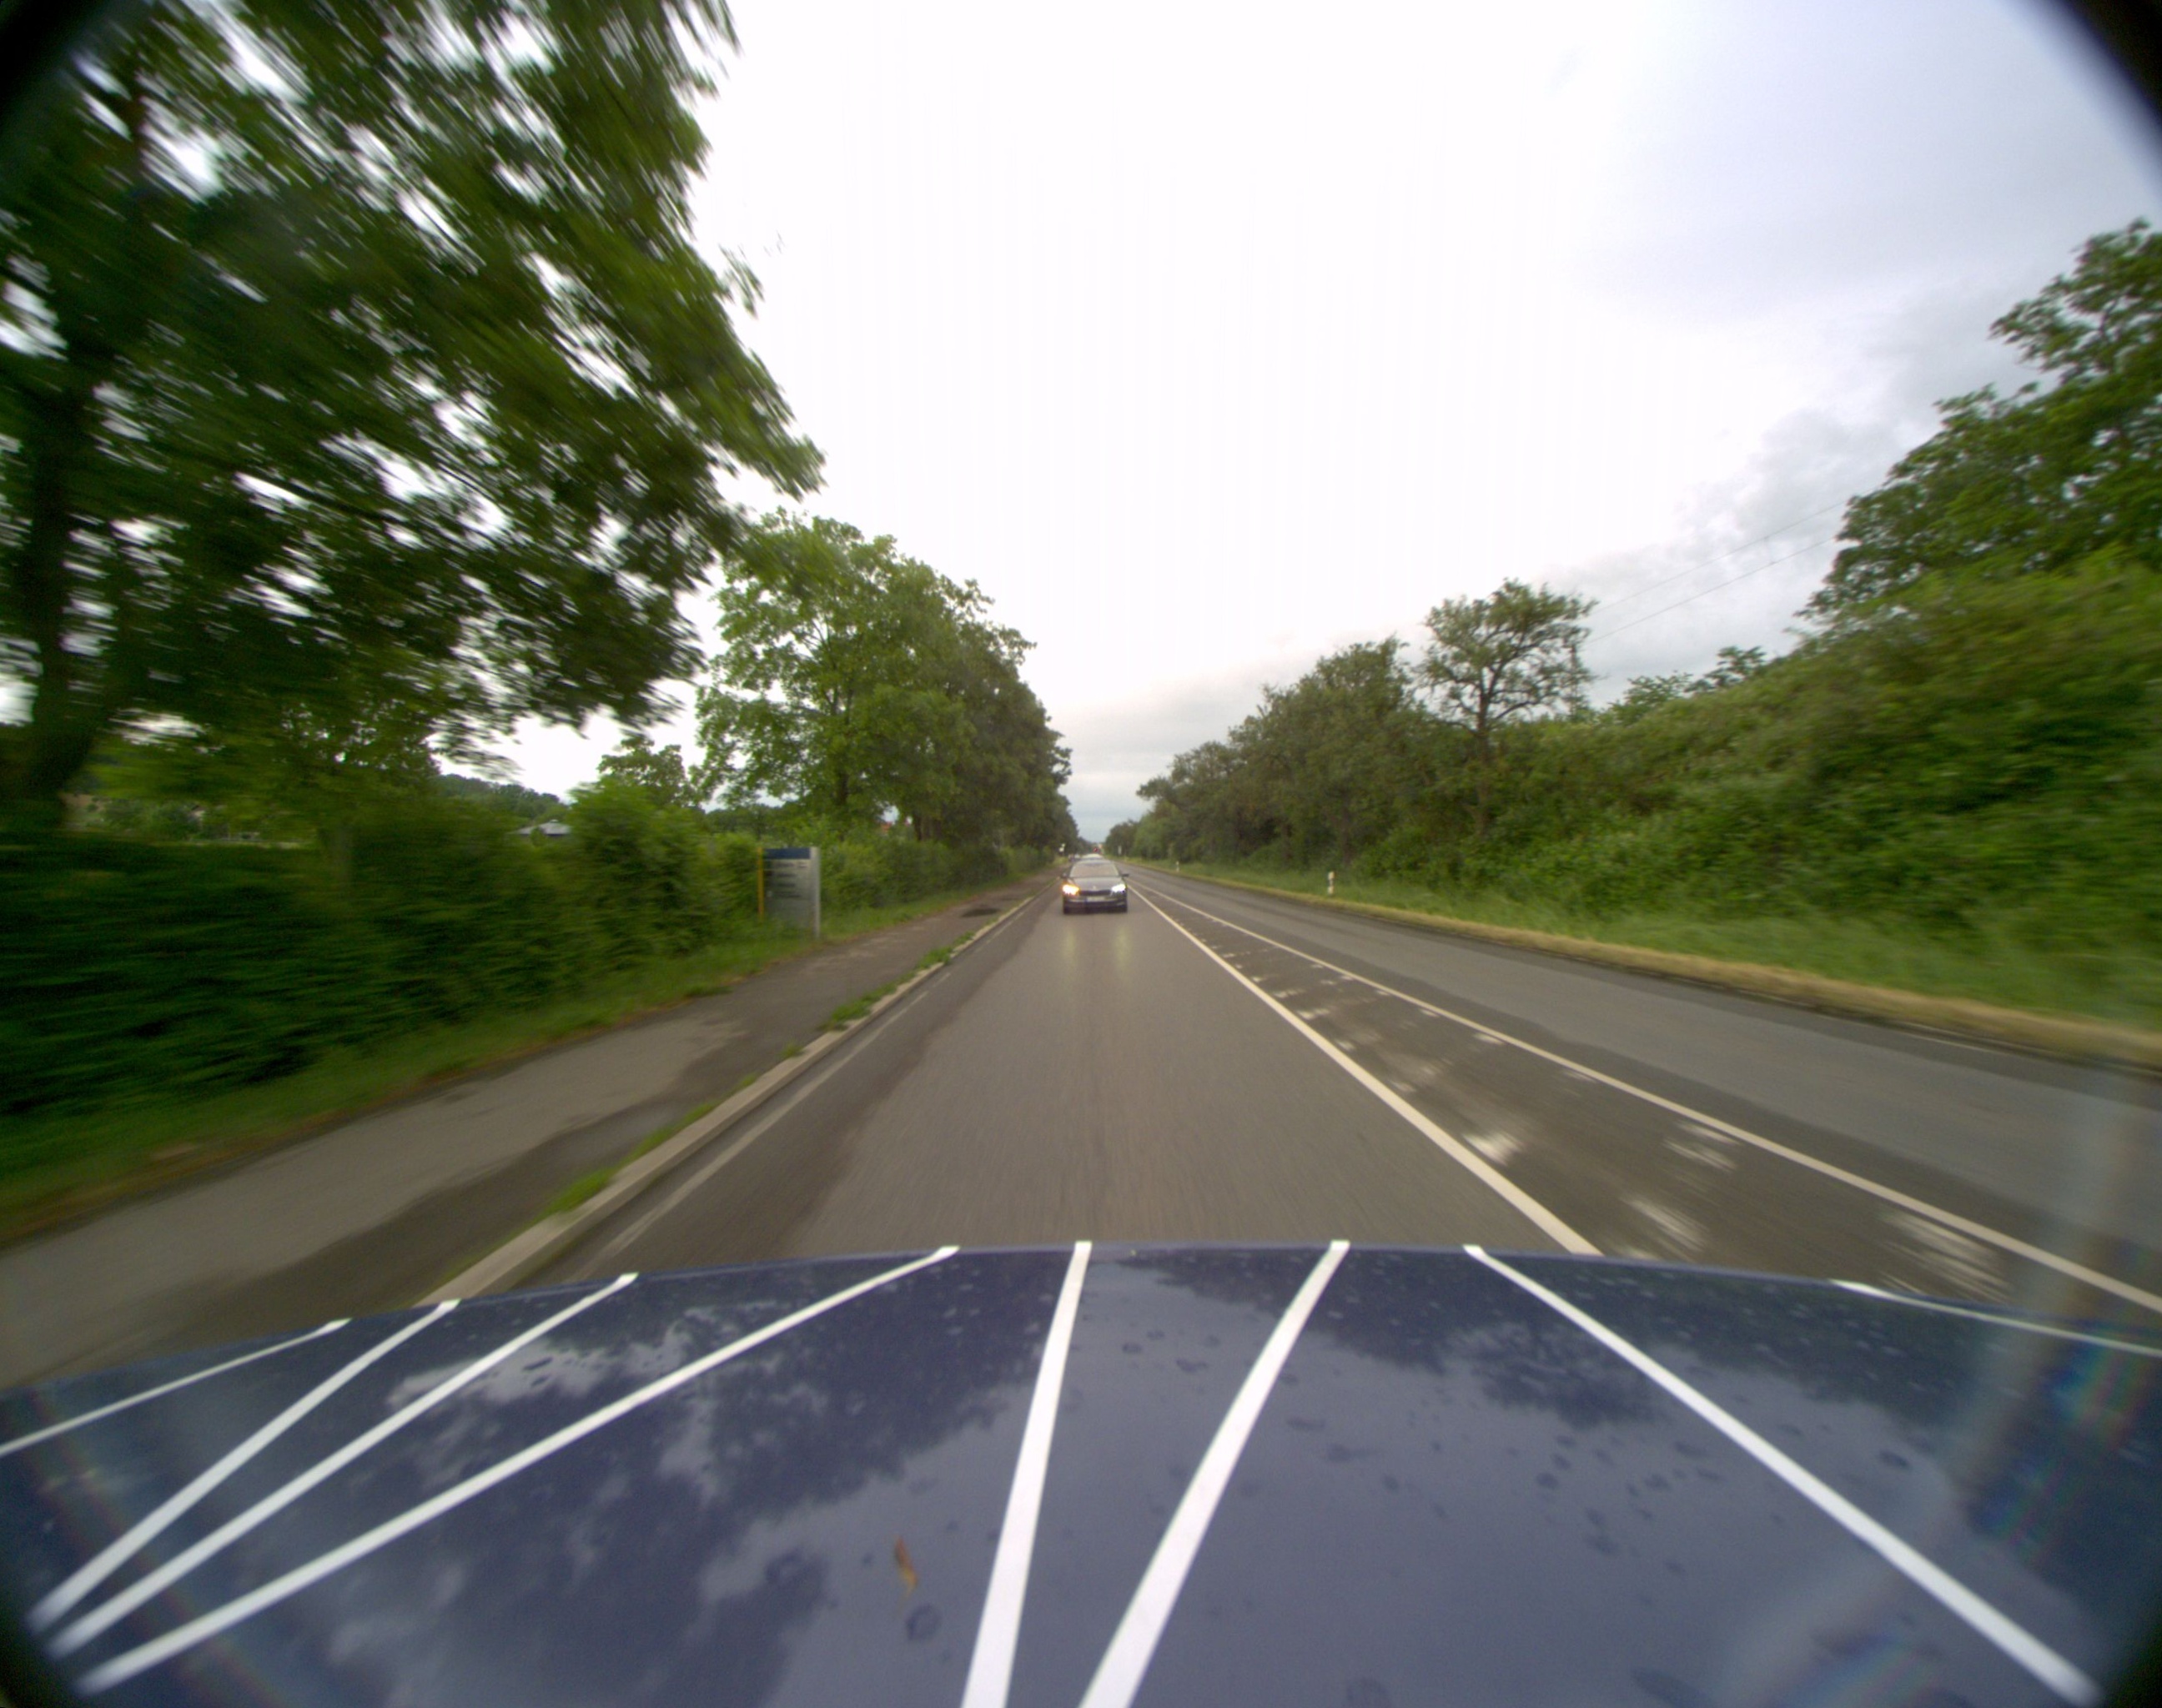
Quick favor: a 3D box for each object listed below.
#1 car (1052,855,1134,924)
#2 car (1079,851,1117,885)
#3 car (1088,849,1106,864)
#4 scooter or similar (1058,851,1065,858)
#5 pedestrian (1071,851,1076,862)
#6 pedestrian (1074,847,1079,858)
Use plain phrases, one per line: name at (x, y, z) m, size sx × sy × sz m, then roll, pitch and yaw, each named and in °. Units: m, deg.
car at (0.307, 0.863, 20.589) m, size 1.915 × 1.543 × 4.354 m, roll -3°, pitch 1°, yaw 1°
car at (0.938, 0.733, 42.605) m, size 1.915 × 1.691 × 3.913 m, roll -3°, pitch 1°, yaw 1°
car at (1.843, 0.262, 87.233) m, size 1.887 × 1.543 × 3.475 m, roll -3°, pitch 1°, yaw 1°
scooter or similar at (-3.720, 0.079, 144.276) m, size 1.323 × 1.199 × 0.375 m, roll 0°, pitch 2°, yaw 42°
pedestrian at (-1.323, 0.453, 130.672) m, size 0.663 × 1.768 × 0.759 m, roll 0°, pitch 1°, yaw -16°
pedestrian at (-0.721, -0.205, 129.630) m, size 0.696 × 1.817 × 0.800 m, roll 0°, pitch 1°, yaw -16°
